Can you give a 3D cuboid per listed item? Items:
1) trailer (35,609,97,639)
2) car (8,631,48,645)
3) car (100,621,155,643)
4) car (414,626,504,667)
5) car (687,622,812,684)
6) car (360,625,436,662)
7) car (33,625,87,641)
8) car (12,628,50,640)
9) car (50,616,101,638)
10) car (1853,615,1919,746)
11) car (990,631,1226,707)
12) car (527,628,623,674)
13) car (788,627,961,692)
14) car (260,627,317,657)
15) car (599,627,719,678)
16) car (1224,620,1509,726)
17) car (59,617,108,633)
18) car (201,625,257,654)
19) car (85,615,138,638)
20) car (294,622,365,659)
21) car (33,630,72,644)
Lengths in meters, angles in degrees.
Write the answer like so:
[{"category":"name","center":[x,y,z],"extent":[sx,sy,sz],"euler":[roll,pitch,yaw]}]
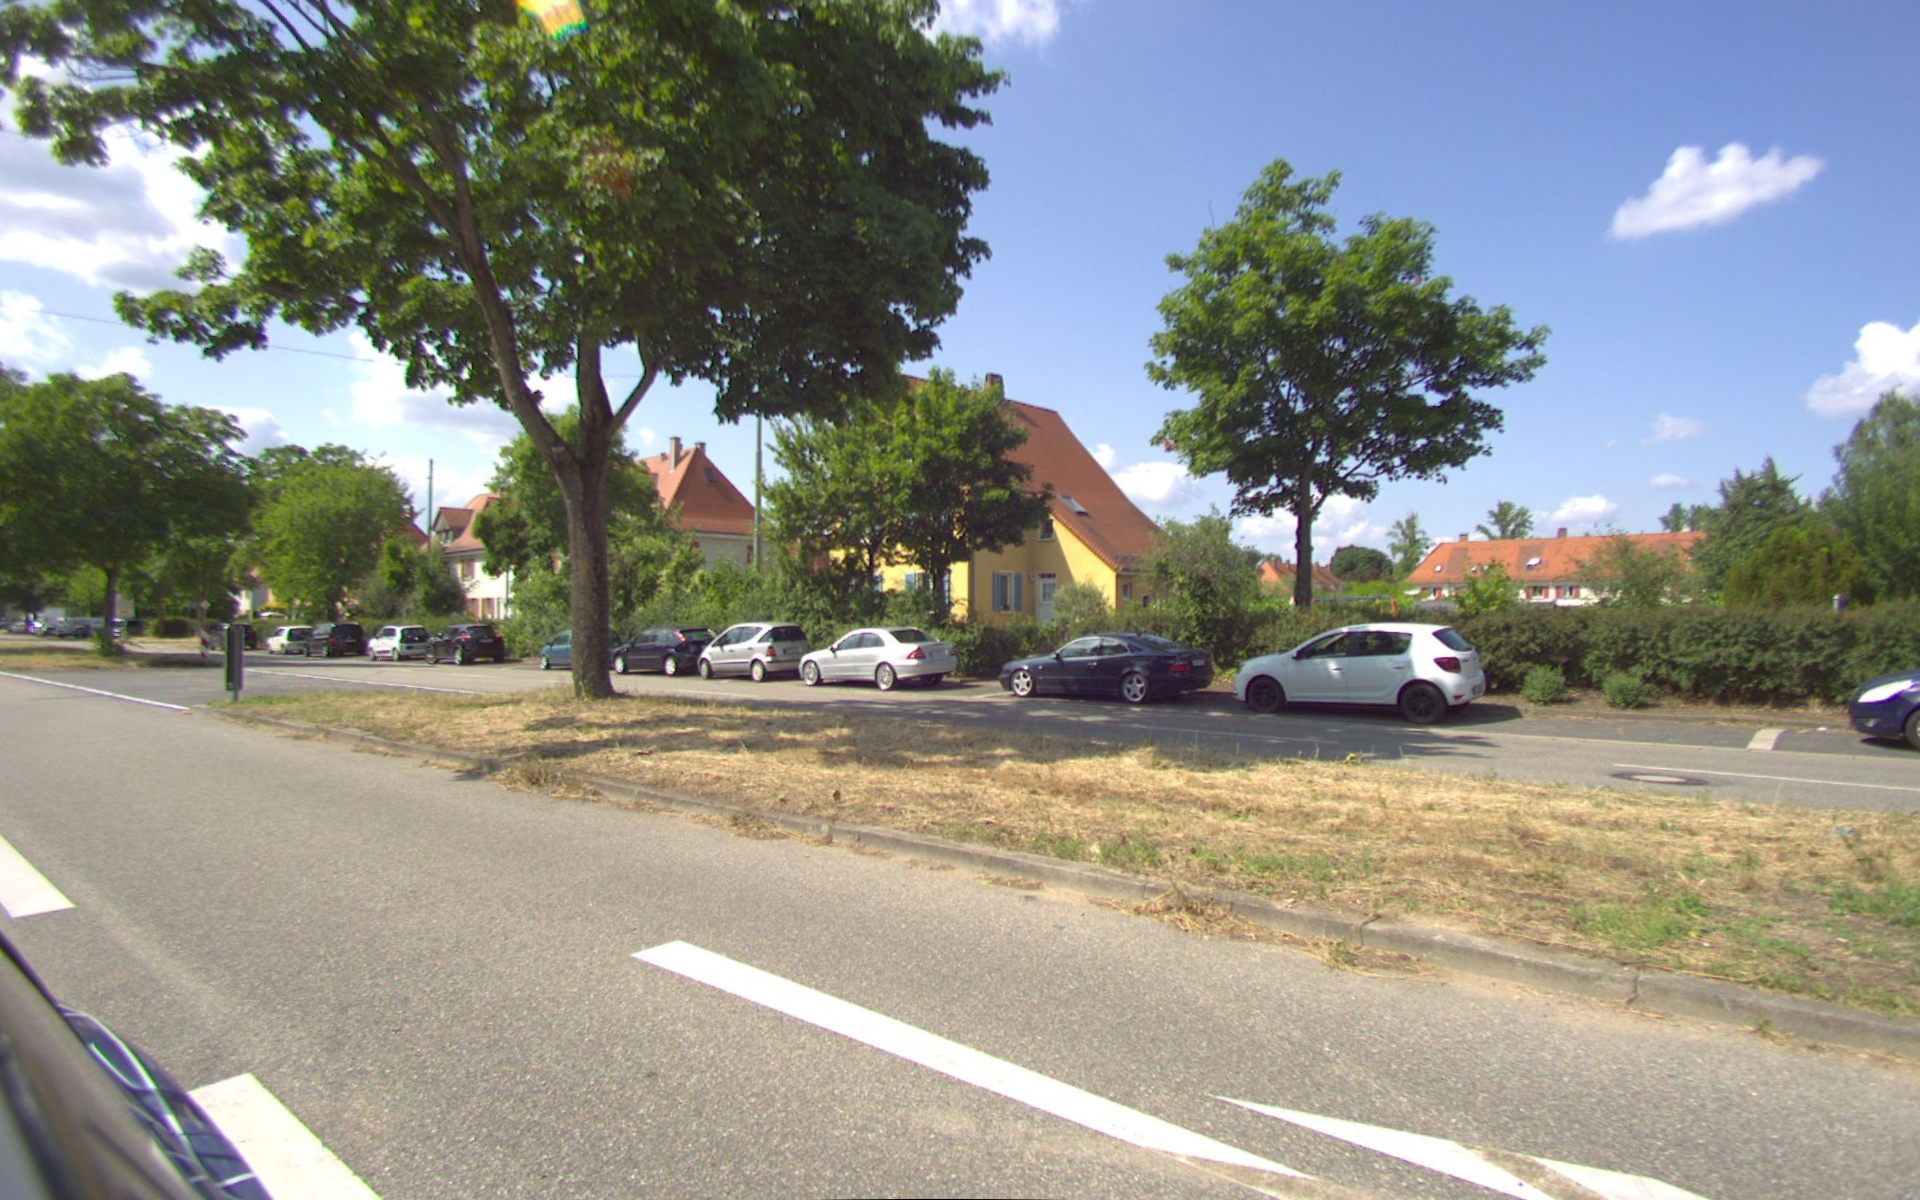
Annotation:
[{"category":"trailer","center":[-100.690,2.671,114.082],"extent":[2.781,3.132,5.767],"euler":[-2,0,-12]},{"category":"car","center":[-111.666,4.494,121.327],"extent":[1.646,1.475,3.827],"euler":[-1,1,-8]},{"category":"car","center":[-74.392,2.807,90.528],"extent":[1.779,1.874,4.002],"euler":[-1,-1,-3]},{"category":"car","center":[-19.875,1.827,40.090],"extent":[4.099,1.492,1.644],"euler":[-2,0,40]},{"category":"car","center":[-5.888,1.417,28.144],"extent":[3.739,1.569,1.388],"euler":[-1,0,40]},{"category":"car","center":[-24.877,1.904,44.787],"extent":[3.843,1.462,1.644],"euler":[-1,1,40]},{"category":"car","center":[-92.970,3.396,104.556],"extent":[1.799,1.521,3.946],"euler":[-1,1,41]},{"category":"car","center":[-115.382,4.229,125.716],"extent":[1.646,1.358,3.827],"euler":[-1,1,-8]},{"category":"car","center":[-88.908,2.728,101.769],"extent":[1.779,2.029,4.003],"euler":[-1,1,-3]},{"category":"car","center":[12.862,0.947,11.551],"extent":[3.992,1.496,1.619],"euler":[-1,1,42]},{"category":"car","center":[2.886,1.321,20.467],"extent":[4.583,1.316,1.619],"euler":[-2,0,42]},{"category":"car","center":[-13.176,1.700,34.567],"extent":[3.475,1.405,1.546],"euler":[-1,1,40]},{"category":"car","center":[-2.163,1.389,24.660],"extent":[4.530,1.380,1.494],"euler":[-2,0,42]},{"category":"car","center":[-35.698,2.207,53.771],"extent":[3.532,1.472,1.578],"euler":[-1,1,40]},{"category":"car","center":[-9.298,1.559,31.079],"extent":[4.354,1.405,1.388],"euler":[-1,0,40]},{"category":"car","center":[6.733,1.122,17.036],"extent":[4.123,1.496,1.671],"euler":[-1,1,42]},{"category":"car","center":[-86.934,2.488,100.406],"extent":[1.550,1.408,4.003],"euler":[-1,1,-3]},{"category":"car","center":[-43.796,2.330,60.639],"extent":[3.996,1.563,1.750],"euler":[-1,1,40]},{"category":"car","center":[-81.264,2.521,96.981],"extent":[1.779,2.029,4.003],"euler":[-1,1,-3]},{"category":"car","center":[-30.878,1.956,49.525],"extent":[4.310,1.624,1.644],"euler":[-1,1,40]},{"category":"car","center":[-108.426,4.429,120.999],"extent":[1.646,1.475,3.827],"euler":[-1,1,-8]}]
